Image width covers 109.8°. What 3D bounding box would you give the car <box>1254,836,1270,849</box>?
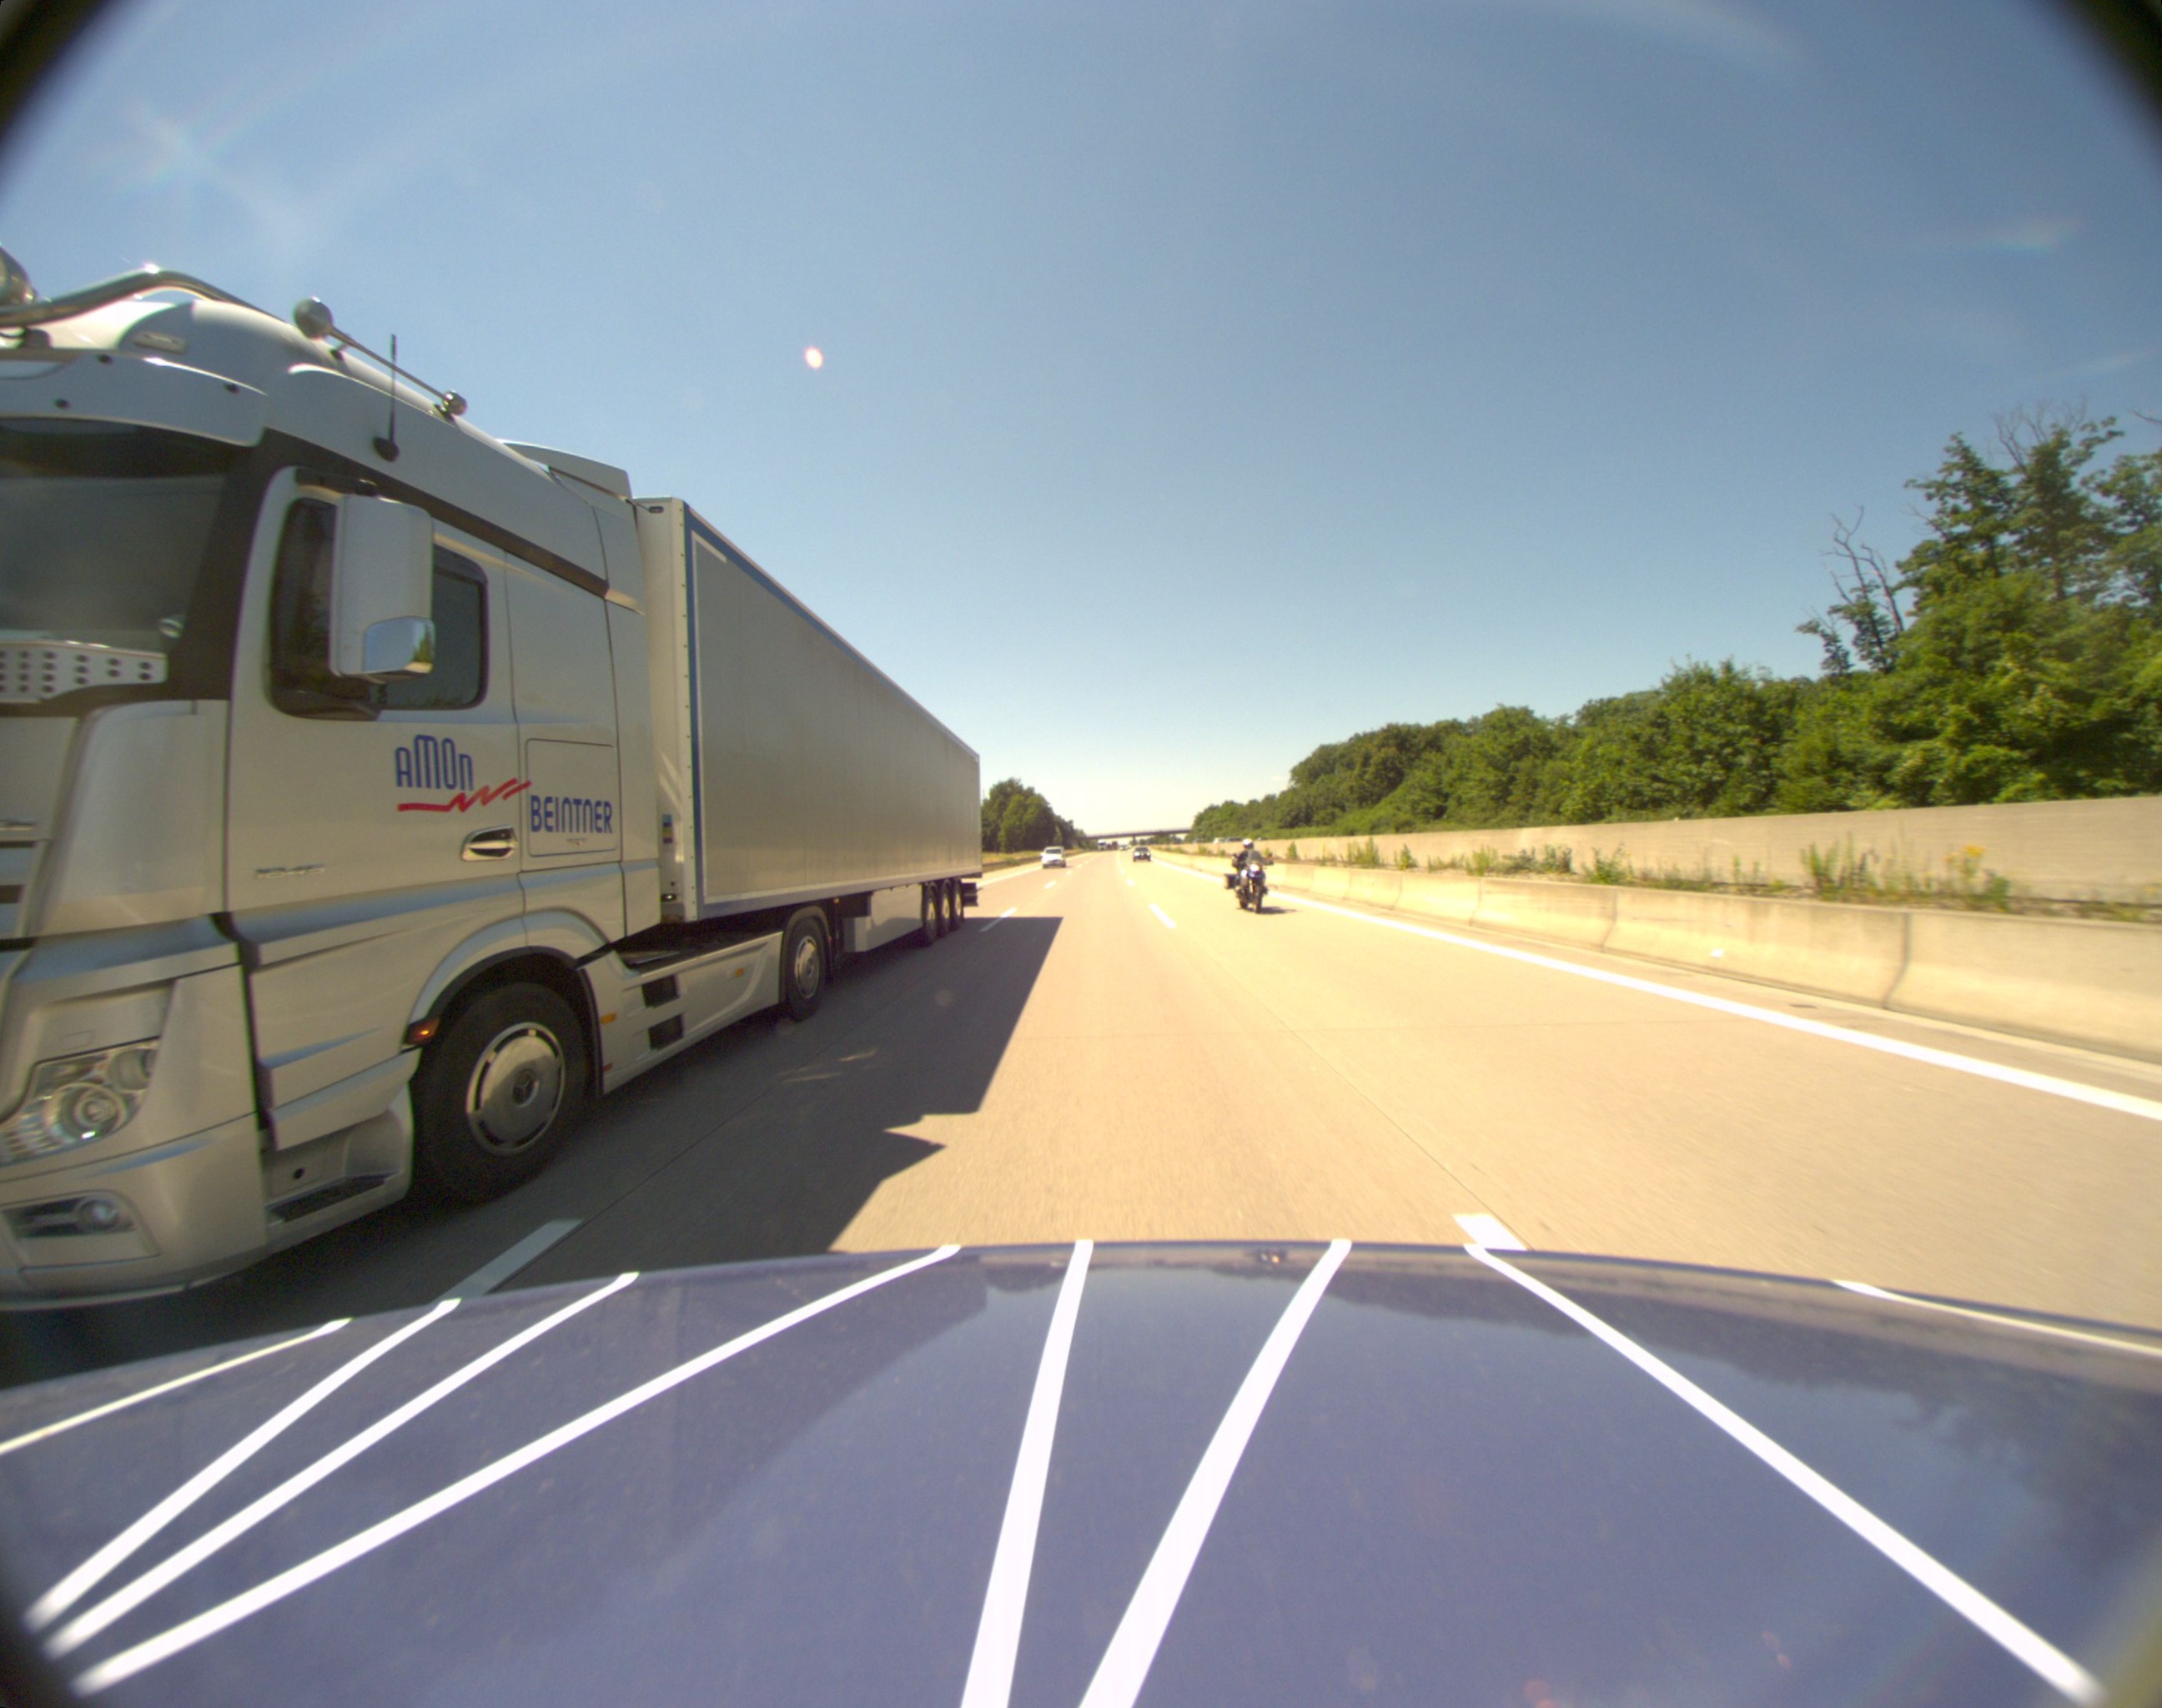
[{"bbox_3d":[24.907,-1.622,104.820,1.436,1.705,3.273,-2,1,2],"label":"car"}]

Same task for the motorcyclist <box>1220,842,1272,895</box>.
[{"bbox_3d":[3.895,0.332,18.017,1.027,1.202,0.911,-2,1,0],"label":"motorcyclist"}]

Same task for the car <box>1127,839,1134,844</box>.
[{"bbox_3d":[14.393,-3.625,219.282,1.580,1.565,3.674,-2,1,-2],"label":"car"}]

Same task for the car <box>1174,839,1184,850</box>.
[{"bbox_3d":[18.843,-1.785,146.335,1.639,2.002,3.652,-2,1,2],"label":"car"}]

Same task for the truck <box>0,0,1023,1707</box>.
[{"bbox_3d":[-3.767,-1.106,10.570,3.586,5.753,18.247,-5,0,2],"label":"truck"}]

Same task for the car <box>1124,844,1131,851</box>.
[{"bbox_3d":[10.979,-1.606,180.852,1.586,1.527,3.612,-1,1,3],"label":"car"}]

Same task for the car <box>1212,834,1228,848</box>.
[{"bbox_3d":[20.589,-1.916,112.346,1.638,2.002,4.103,-2,1,2],"label":"car"}]

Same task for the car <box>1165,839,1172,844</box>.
[{"bbox_3d":[27.848,-4.025,242.630,1.707,1.648,4.408,0,-1,1],"label":"car"}]

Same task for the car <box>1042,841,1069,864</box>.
[{"bbox_3d":[-2.264,-0.114,69.704,1.883,1.878,5.280,-5,0,3],"label":"car"}]

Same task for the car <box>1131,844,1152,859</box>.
[{"bbox_3d":[6.437,-0.261,81.110,1.998,1.518,4.000,-1,1,3],"label":"car"}]

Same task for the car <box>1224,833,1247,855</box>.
[{"bbox_3d":[15.204,-0.986,74.981,1.436,2.002,4.786,-2,1,2],"label":"car"}]

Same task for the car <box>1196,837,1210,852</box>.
[{"bbox_3d":[16.270,-1.288,101.422,1.436,2.002,3.520,-2,1,2],"label":"car"}]

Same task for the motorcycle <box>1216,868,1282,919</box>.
[{"bbox_3d":[3.910,0.889,17.901,1.024,1.042,2.413,-1,0,1],"label":"motorcycle"}]
